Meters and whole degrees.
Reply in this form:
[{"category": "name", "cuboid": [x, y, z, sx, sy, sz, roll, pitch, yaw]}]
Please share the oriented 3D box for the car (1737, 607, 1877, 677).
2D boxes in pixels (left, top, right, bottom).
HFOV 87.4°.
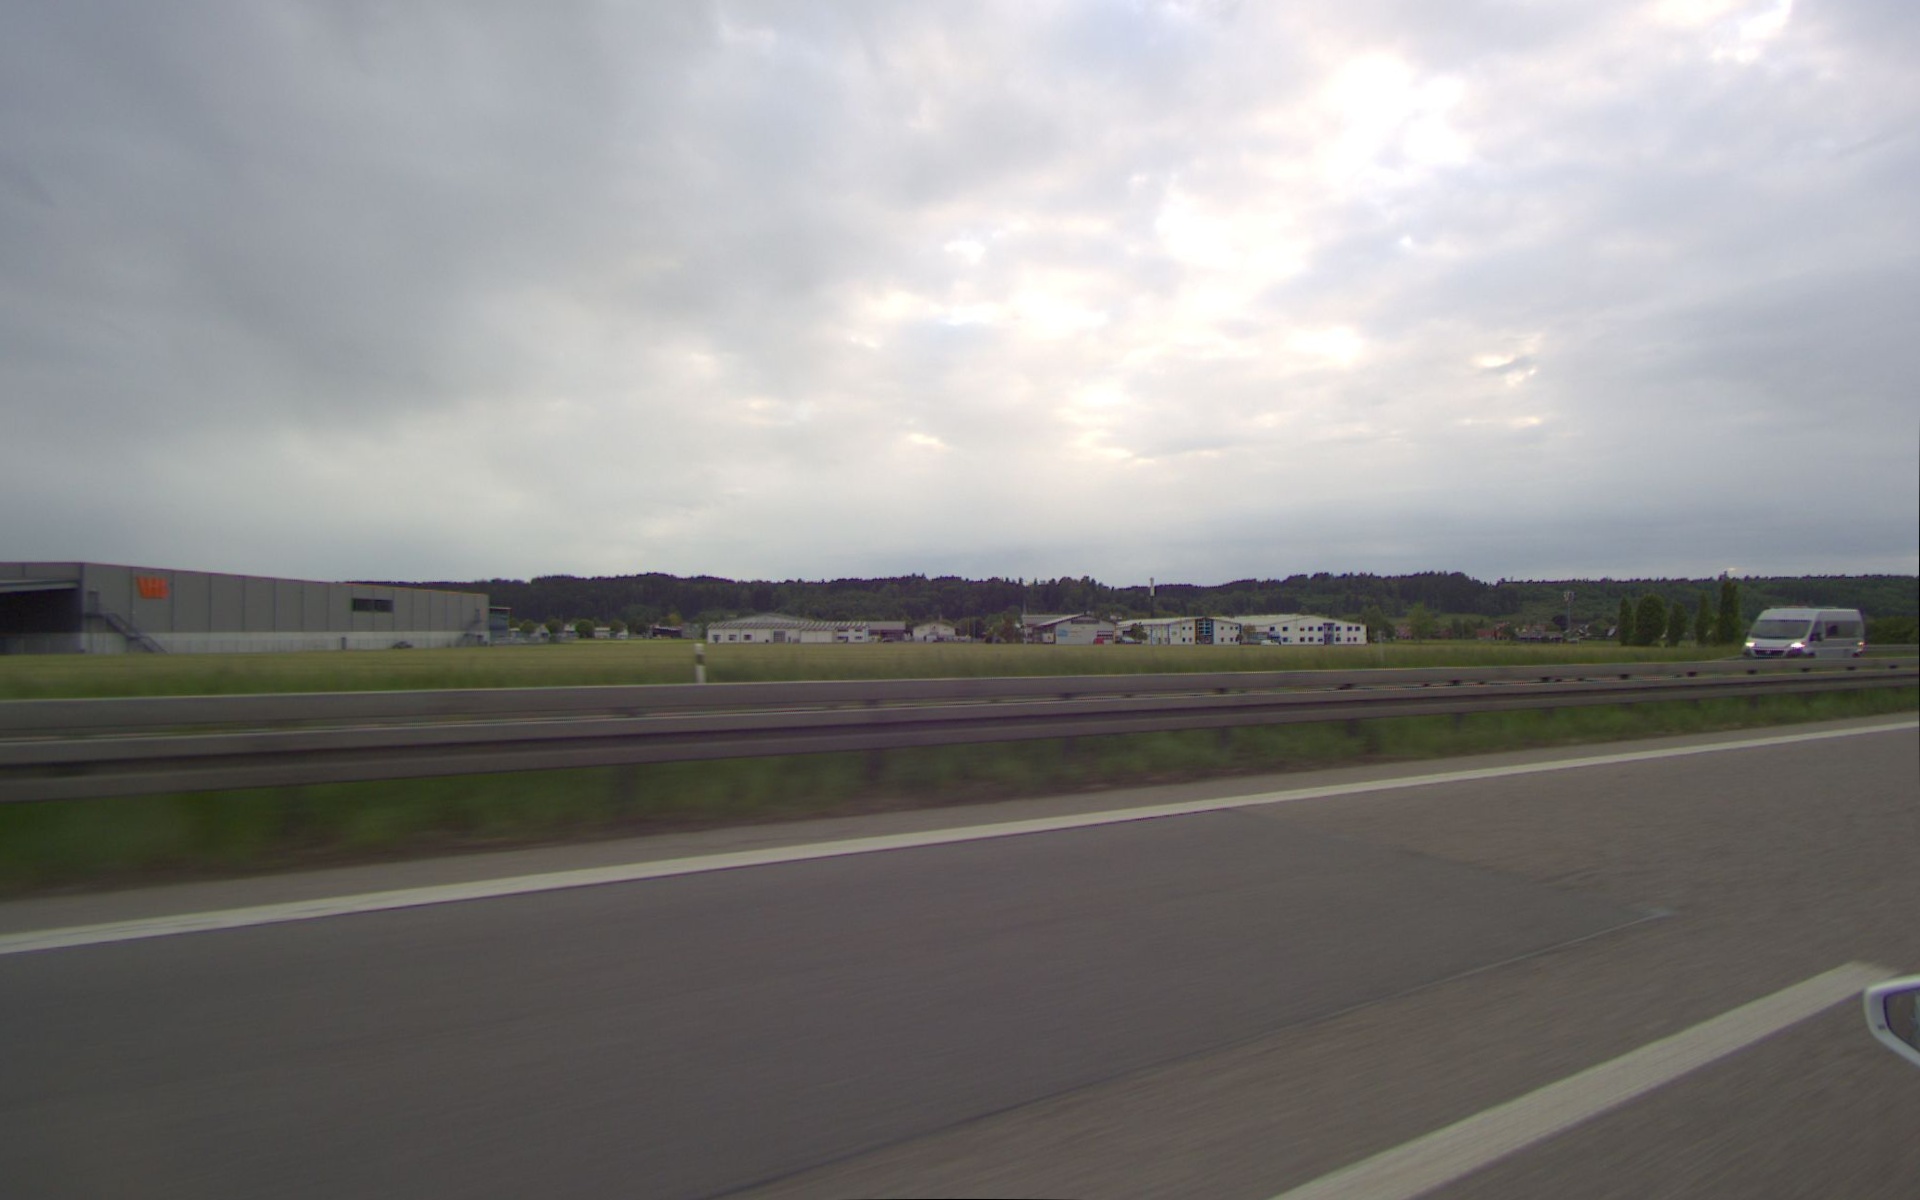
[{"category": "car", "cuboid": [33.145, 1.612, 39.249, 6.511, 2.516, 2.135, 1, 0, -30]}]
